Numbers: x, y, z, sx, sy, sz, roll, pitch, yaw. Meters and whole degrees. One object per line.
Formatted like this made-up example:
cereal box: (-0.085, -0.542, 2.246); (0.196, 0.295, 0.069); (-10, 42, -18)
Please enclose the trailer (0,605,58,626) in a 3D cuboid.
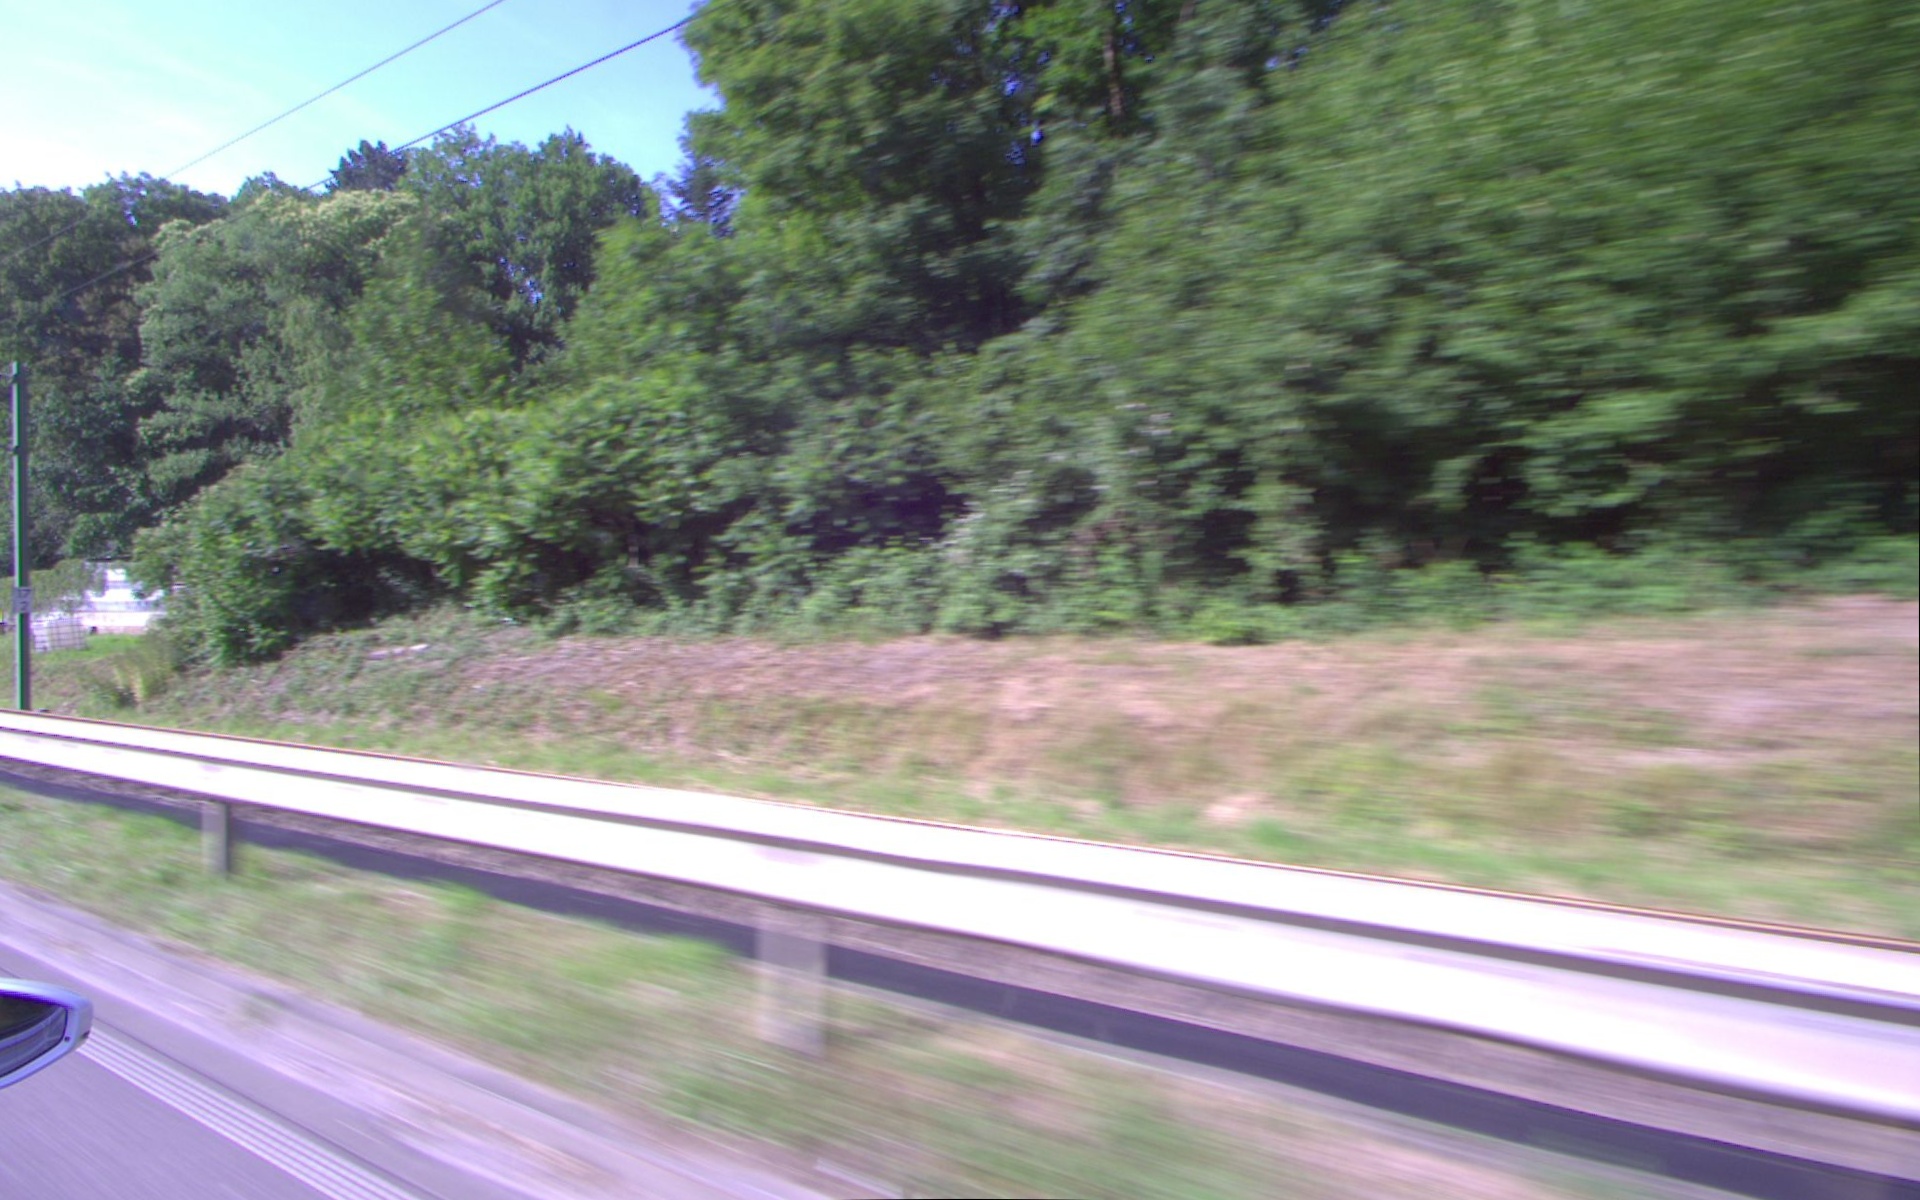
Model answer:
trailer: (-58.183, 0.990, 62.262); (3.659, 1.207, 2.064); (-1, -2, 30)
